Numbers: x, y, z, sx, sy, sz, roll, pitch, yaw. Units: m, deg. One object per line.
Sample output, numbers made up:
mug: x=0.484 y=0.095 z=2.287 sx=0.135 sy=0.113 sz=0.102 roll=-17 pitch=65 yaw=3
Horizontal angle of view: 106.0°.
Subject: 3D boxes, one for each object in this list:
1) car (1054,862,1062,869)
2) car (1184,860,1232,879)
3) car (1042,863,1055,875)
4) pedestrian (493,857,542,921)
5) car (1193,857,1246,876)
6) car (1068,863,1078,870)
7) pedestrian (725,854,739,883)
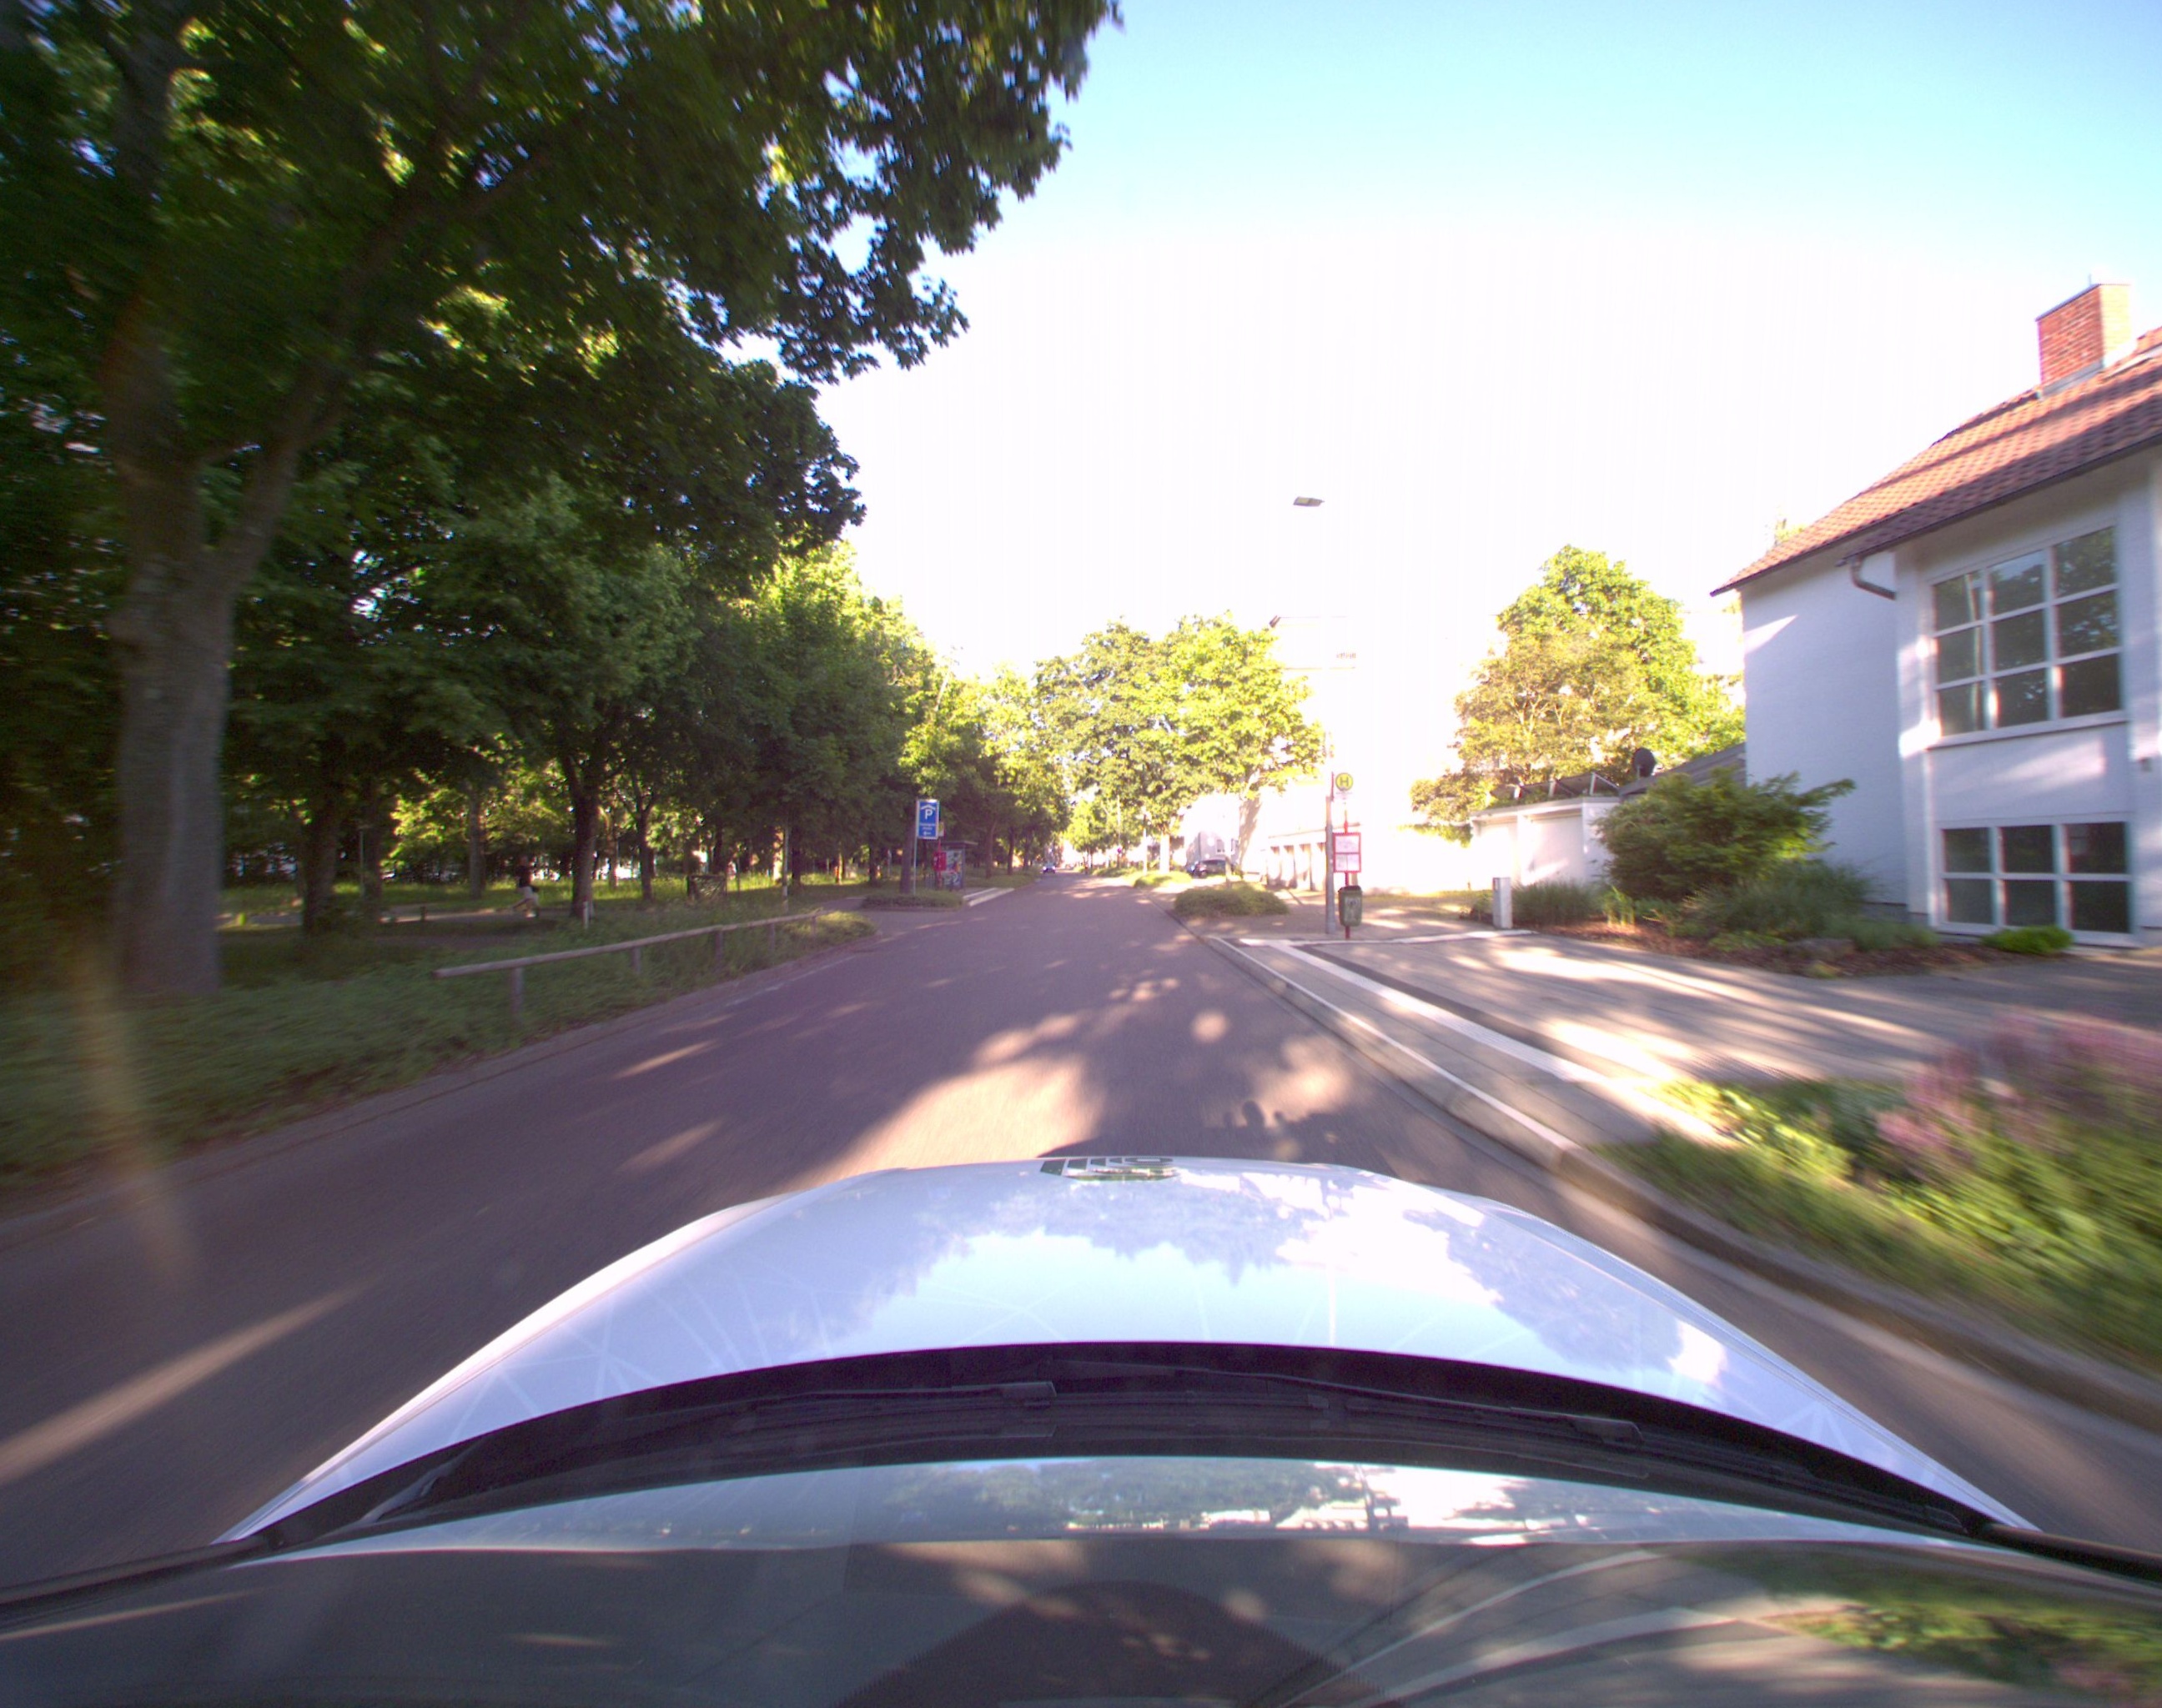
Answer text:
car: x=-6.729 y=3.397 z=236.443 sx=1.809 sy=1.925 sz=3.991 roll=0 pitch=0 yaw=-7
car: x=11.575 y=1.391 z=74.373 sx=3.979 sy=1.581 sz=1.807 roll=-1 pitch=1 yaw=-4
car: x=-5.019 y=2.296 z=125.018 sx=1.839 sy=1.578 sz=4.332 roll=-3 pitch=0 yaw=-2
pedestrian: x=-16.431 y=1.000 z=23.754 sx=0.900 sy=1.821 sz=0.720 roll=-1 pitch=0 yaw=-2
car: x=11.362 y=1.018 z=66.844 sx=4.031 sy=1.514 sz=1.725 roll=0 pitch=-2 yaw=-3
car: x=-2.012 y=3.180 z=208.013 sx=1.812 sy=1.501 sz=3.985 roll=-2 pitch=0 yaw=-10
pedestrian: x=-24.908 y=1.036 z=58.149 sx=0.755 sy=2.014 sz=0.589 roll=0 pitch=-1 yaw=-3
